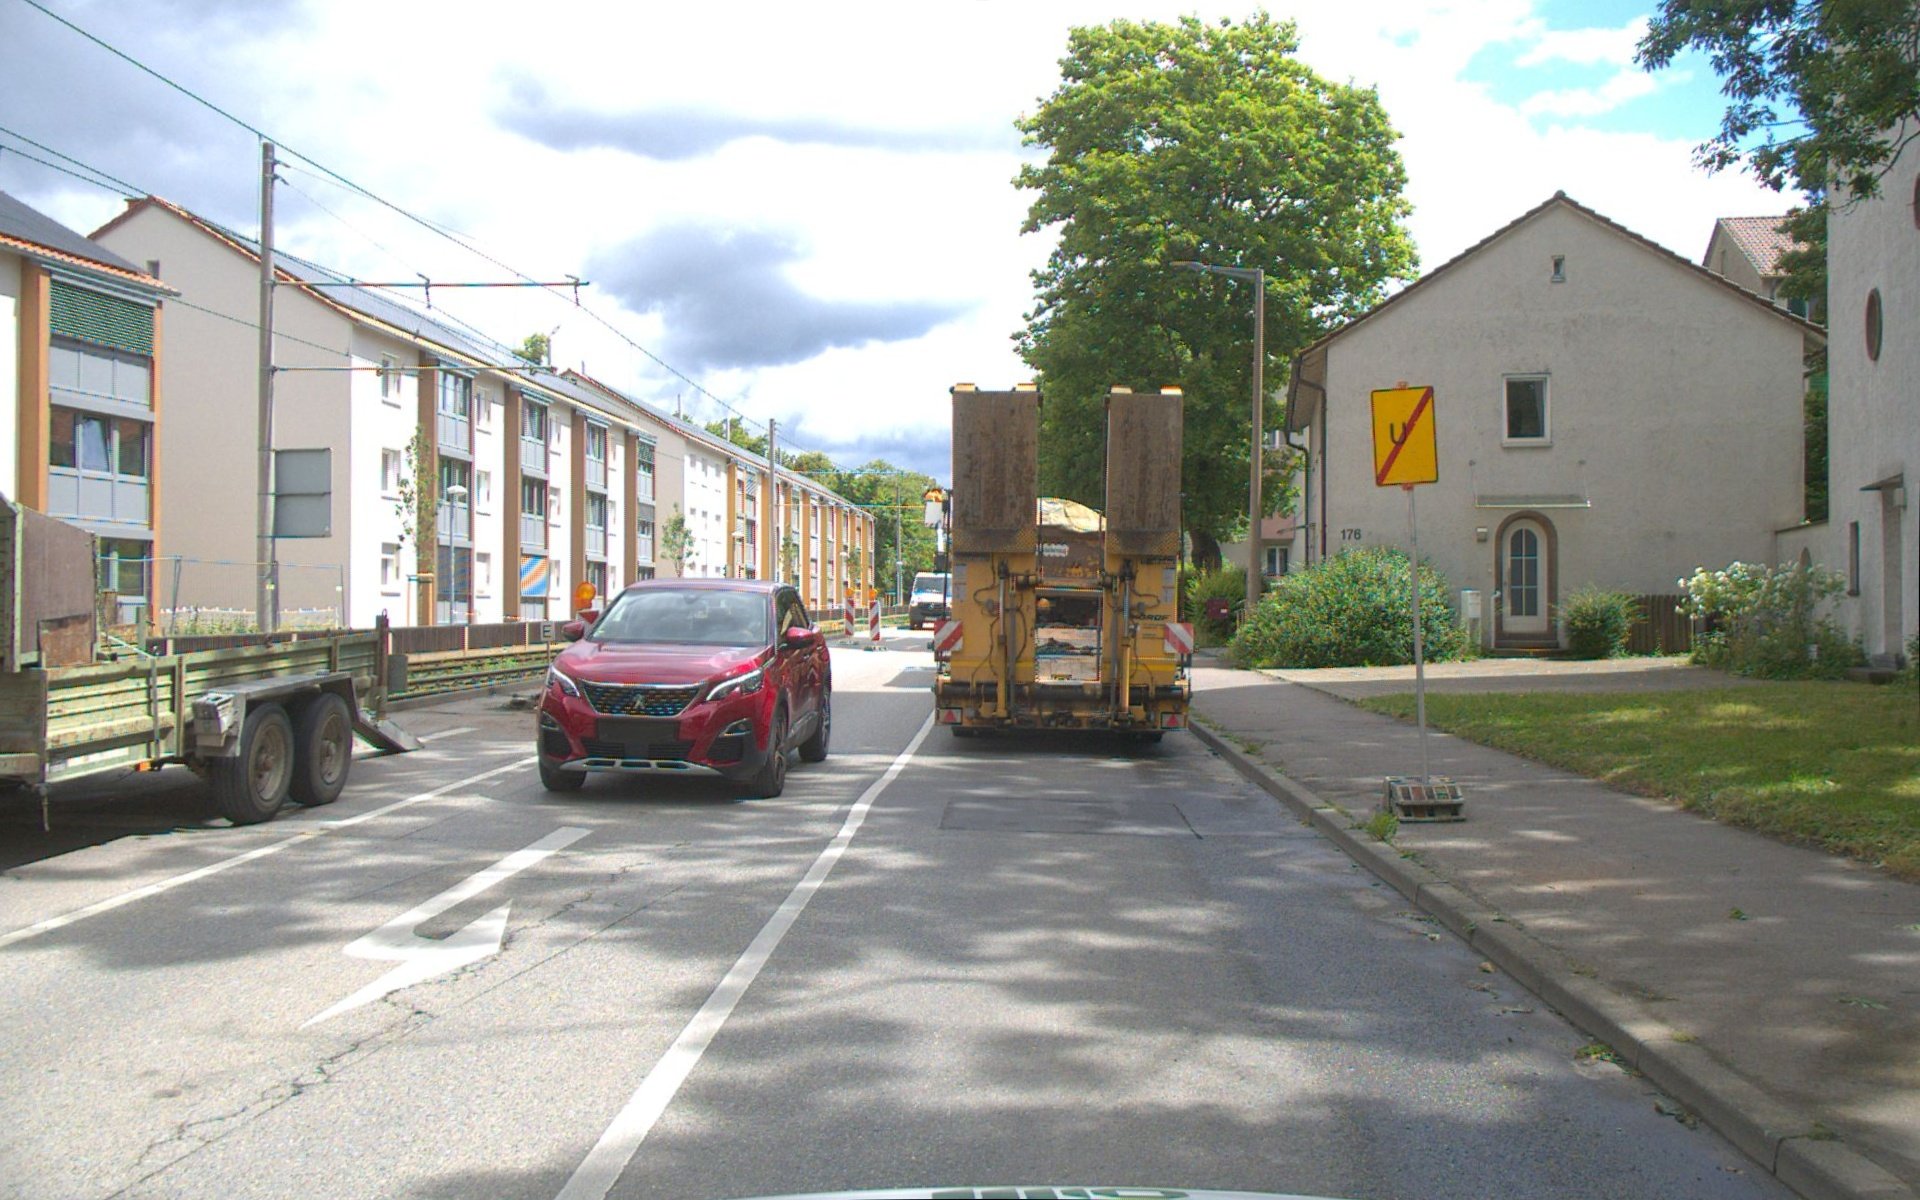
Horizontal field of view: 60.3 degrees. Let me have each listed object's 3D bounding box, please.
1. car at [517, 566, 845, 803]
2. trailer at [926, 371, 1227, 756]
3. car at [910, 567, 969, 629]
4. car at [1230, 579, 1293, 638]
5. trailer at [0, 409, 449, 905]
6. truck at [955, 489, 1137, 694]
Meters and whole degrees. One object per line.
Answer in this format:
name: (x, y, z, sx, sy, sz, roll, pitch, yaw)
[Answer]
car: (-2.108, 0.584, 13.713, 1.804, 1.646, 4.243, 0, 0, 3)
trailer: (1.216, -0.355, 21.299, 2.764, 3.585, 11.053, 2, 0, 1)
car: (-0.807, -0.088, 69.660, 1.952, 2.473, 6.325, 1, 0, 4)
car: (9.188, 0.267, 50.255, 1.773, 1.678, 4.003, -1, -1, 11)
trailer: (-5.563, 0.225, 10.257, 2.607, 2.252, 6.249, 2, 0, 2)
truck: (1.444, -0.147, 30.617, 2.857, 3.222, 7.681, 2, 0, 1)
